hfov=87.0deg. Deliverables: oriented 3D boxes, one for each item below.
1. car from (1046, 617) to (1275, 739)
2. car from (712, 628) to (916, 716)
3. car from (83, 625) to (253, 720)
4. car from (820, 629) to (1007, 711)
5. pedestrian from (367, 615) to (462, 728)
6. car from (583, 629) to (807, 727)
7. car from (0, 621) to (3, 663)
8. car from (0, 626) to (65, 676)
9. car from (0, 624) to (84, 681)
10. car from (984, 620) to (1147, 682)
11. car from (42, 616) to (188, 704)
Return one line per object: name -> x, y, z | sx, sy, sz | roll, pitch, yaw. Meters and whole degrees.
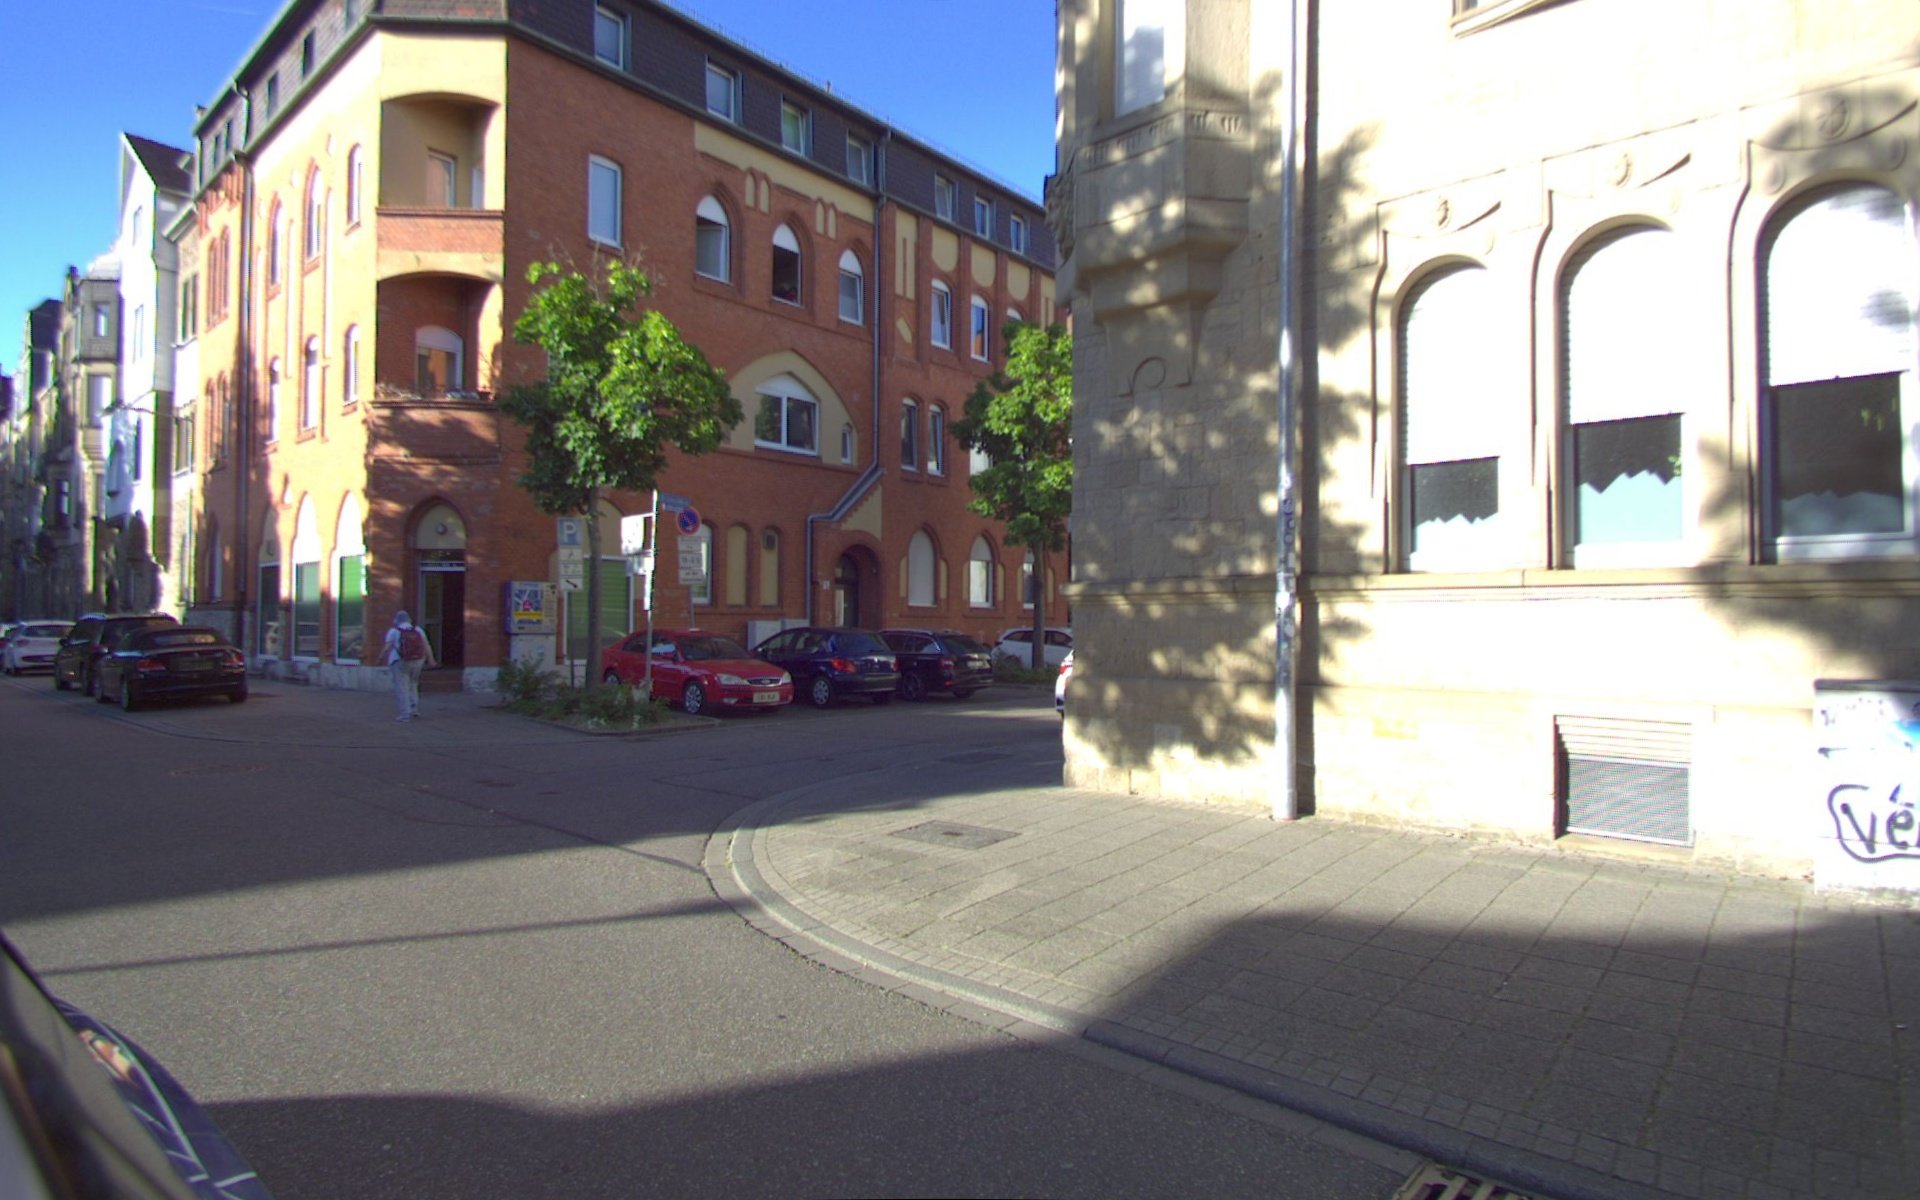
car -> 3.069, 1.095, 14.991 | 1.716, 1.562, 3.758 | -5, -4, 39
car -> -2.978, 1.347, 20.165 | 4.210, 1.562, 1.695 | -1, -3, 41
car -> -14.296, 1.212, 18.182 | 4.331, 1.421, 1.618 | -1, 1, 42
car -> -1.056, 1.410, 21.558 | 3.914, 1.523, 1.695 | 0, -2, 41
pedestrian -> -8.222, 1.052, 15.262 | 1.053, 1.589, 0.878 | 3, -1, 41
car -> -4.880, 1.297, 18.244 | 4.656, 1.480, 1.618 | -1, -1, 42
car -> -41.542, 1.765, 42.278 | 4.337, 1.730, 1.856 | -2, -1, 41
car -> -29.580, 1.572, 31.748 | 4.108, 1.454, 1.660 | -2, -1, 40
car -> -25.806, 1.436, 28.344 | 3.591, 1.481, 1.549 | -2, -1, 43
car -> 2.807, 1.350, 27.530 | 4.210, 1.562, 1.695 | -1, -3, 41
car -> -18.190, 1.196, 21.721 | 4.346, 1.693, 1.653 | -1, -1, 40
